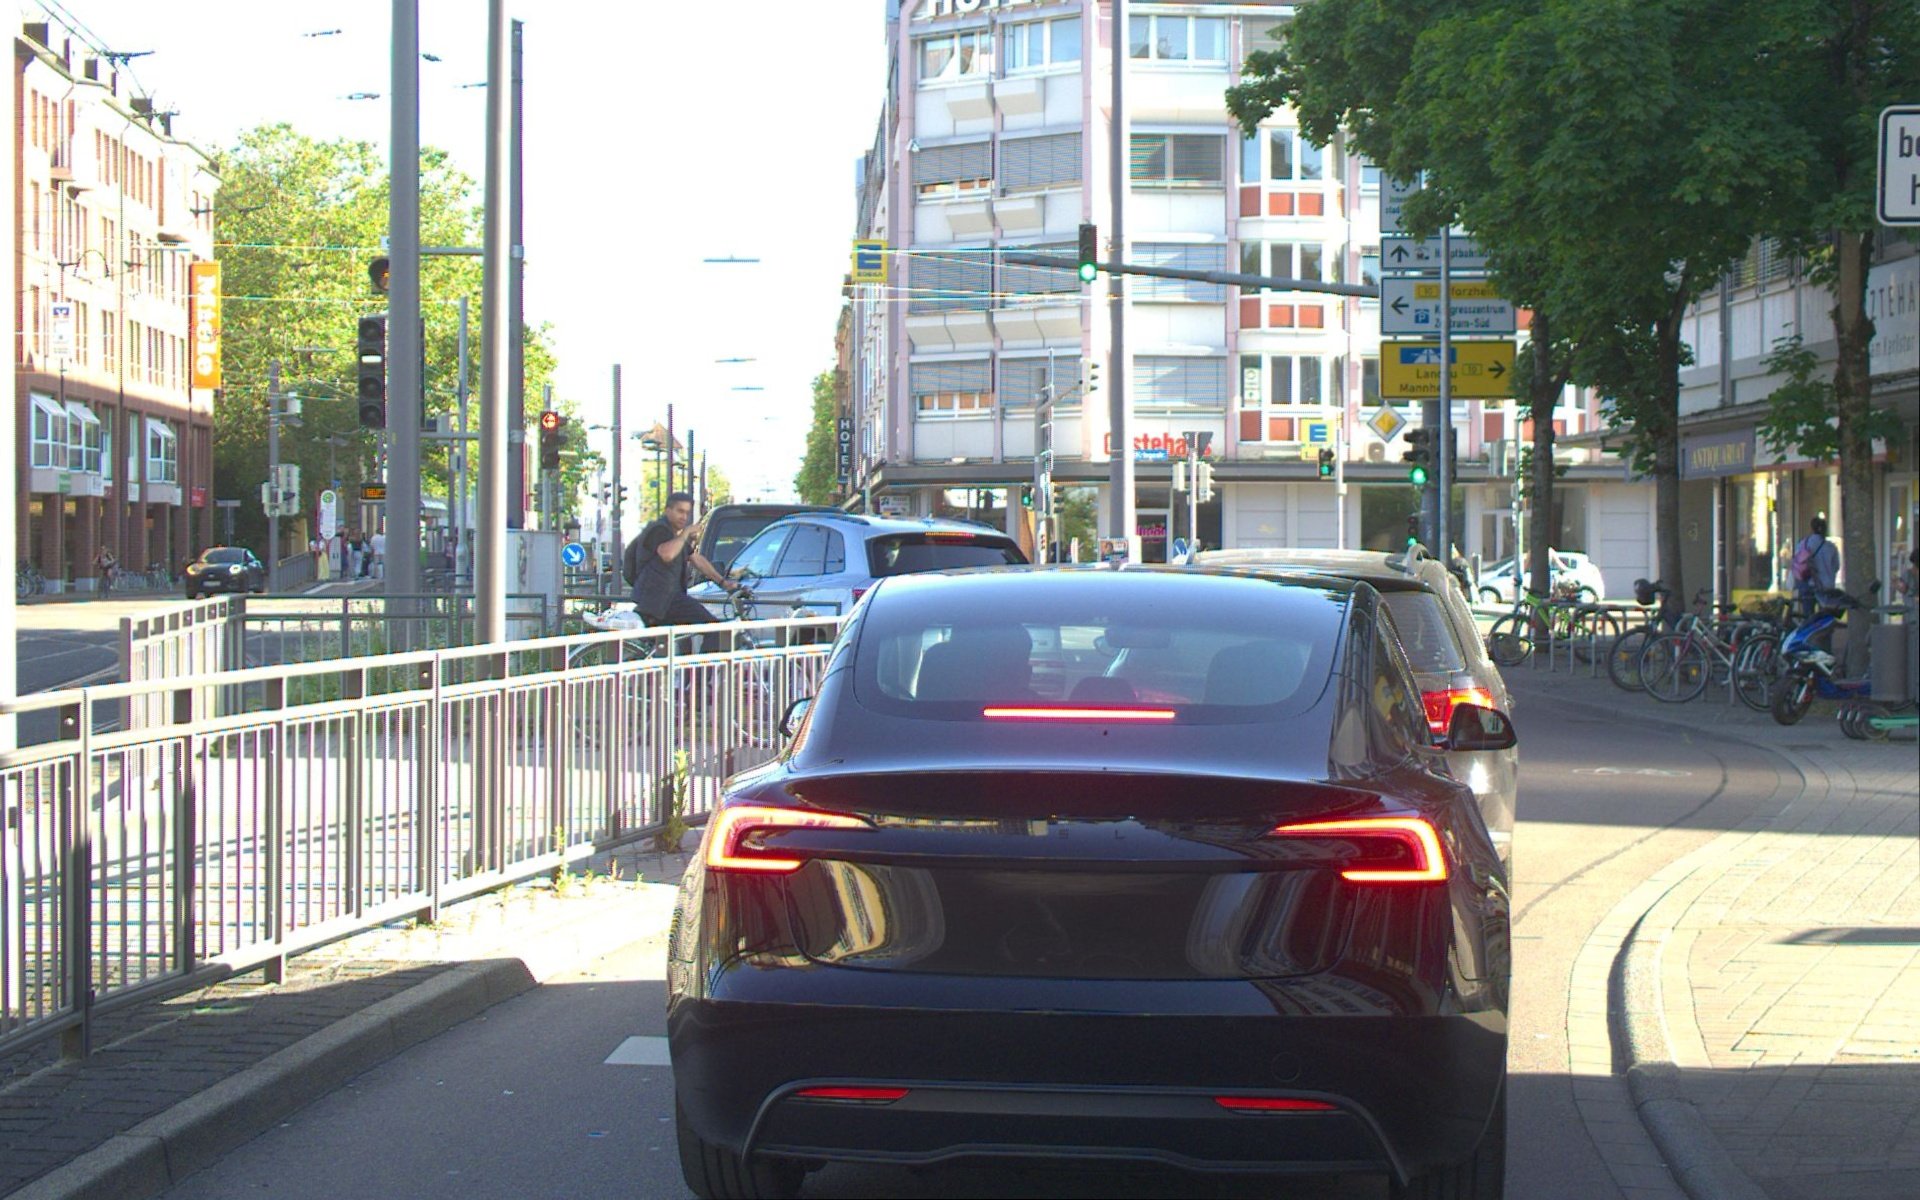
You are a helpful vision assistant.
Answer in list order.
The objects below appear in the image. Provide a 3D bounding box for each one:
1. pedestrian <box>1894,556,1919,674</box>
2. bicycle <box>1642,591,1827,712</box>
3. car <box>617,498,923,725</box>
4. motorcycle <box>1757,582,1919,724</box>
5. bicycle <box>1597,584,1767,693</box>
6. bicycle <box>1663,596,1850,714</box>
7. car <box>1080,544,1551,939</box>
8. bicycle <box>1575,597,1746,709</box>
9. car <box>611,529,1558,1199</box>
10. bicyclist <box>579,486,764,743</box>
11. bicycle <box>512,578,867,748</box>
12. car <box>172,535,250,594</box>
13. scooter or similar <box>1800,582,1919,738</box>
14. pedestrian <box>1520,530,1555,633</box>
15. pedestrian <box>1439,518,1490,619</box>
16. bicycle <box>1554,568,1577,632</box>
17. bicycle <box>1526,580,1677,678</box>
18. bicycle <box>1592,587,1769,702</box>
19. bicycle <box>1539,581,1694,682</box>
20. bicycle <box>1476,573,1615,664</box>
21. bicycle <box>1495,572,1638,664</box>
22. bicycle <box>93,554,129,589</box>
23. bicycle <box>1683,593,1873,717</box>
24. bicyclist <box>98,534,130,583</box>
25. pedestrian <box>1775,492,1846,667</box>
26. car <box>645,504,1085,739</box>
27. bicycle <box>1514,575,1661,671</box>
[{"bbox_3d":[10.948,0.173,39.322,0.389,1.339,0.513,1,0,2],"label":"pedestrian"},{"bbox_3d":[7.180,0.477,31.865,1.649,1.095,0.350,1,0,-10],"label":"bicycle"},{"bbox_3d":[-1.874,0.077,32.642,1.993,2.007,4.001,0,1,-17],"label":"car"},{"bbox_3d":[7.712,0.448,29.256,1.707,1.169,0.541,1,0,-2],"label":"motorcycle"},{"bbox_3d":[7.417,0.392,35.341,1.650,1.095,0.350,1,0,1],"label":"bicycle"},{"bbox_3d":[7.285,0.503,31.442,1.649,1.057,0.350,1,0,-10],"label":"bicycle"},{"bbox_3d":[1.543,0.497,14.987,1.751,1.449,3.999,1,1,6],"label":"car"},{"bbox_3d":[6.994,0.526,34.330,1.649,1.095,0.350,1,0,-10],"label":"bicycle"},{"bbox_3d":[0.385,0.581,8.696,1.829,1.450,3.999,1,1,4],"label":"car"},{"bbox_3d":[-1.875,0.085,22.276,0.758,1.623,0.978,0,1,-39],"label":"bicyclist"},{"bbox_3d":[-1.742,0.397,22.417,2.329,1.050,0.631,0,1,-38],"label":"bicycle"},{"bbox_3d":[-22.591,-1.075,103.758,1.697,1.725,3.707,1,1,-3],"label":"car"},{"bbox_3d":[7.556,0.473,27.182,1.644,1.211,0.644,1,0,30],"label":"scooter or similar"},{"bbox_3d":[9.636,-0.315,57.397,0.526,1.704,0.403,1,0,6],"label":"pedestrian"},{"bbox_3d":[8.373,-0.522,57.098,0.699,1.656,0.777,1,0,-1],"label":"pedestrian"},{"bbox_3d":[10.020,-0.006,56.902,0.332,1.030,1.256,1,0,9],"label":"bicycle"},{"bbox_3d":[7.329,0.329,39.320,1.650,1.095,0.350,1,0,1],"label":"bicycle"},{"bbox_3d":[6.999,0.434,33.392,1.649,1.095,0.350,1,0,-10],"label":"bicycle"},{"bbox_3d":[7.309,0.343,38.293,1.650,1.095,0.350,1,0,1],"label":"bicycle"},{"bbox_3d":[7.231,0.221,42.472,1.650,1.095,0.350,1,0,1],"label":"bicycle"},{"bbox_3d":[7.298,0.212,41.378,1.650,1.095,0.350,0,1,1],"label":"bicycle"},{"bbox_3d":[-26.829,-0.889,108.693,0.529,1.085,2.224,1,1,1],"label":"bicycle"},{"bbox_3d":[7.382,0.496,31.020,1.649,1.095,0.350,1,0,-10],"label":"bicycle"},{"bbox_3d":[-26.797,-1.317,108.880,0.784,1.558,0.746,1,0,2],"label":"bicyclist"},{"bbox_3d":[9.867,-0.241,39.904,0.662,2.007,0.579,1,0,2],"label":"pedestrian"},{"bbox_3d":[-0.827,0.131,26.469,1.883,1.656,4.159,1,1,-25],"label":"car"},{"bbox_3d":[7.361,0.269,40.333,1.650,1.095,0.350,1,0,1],"label":"bicycle"}]
